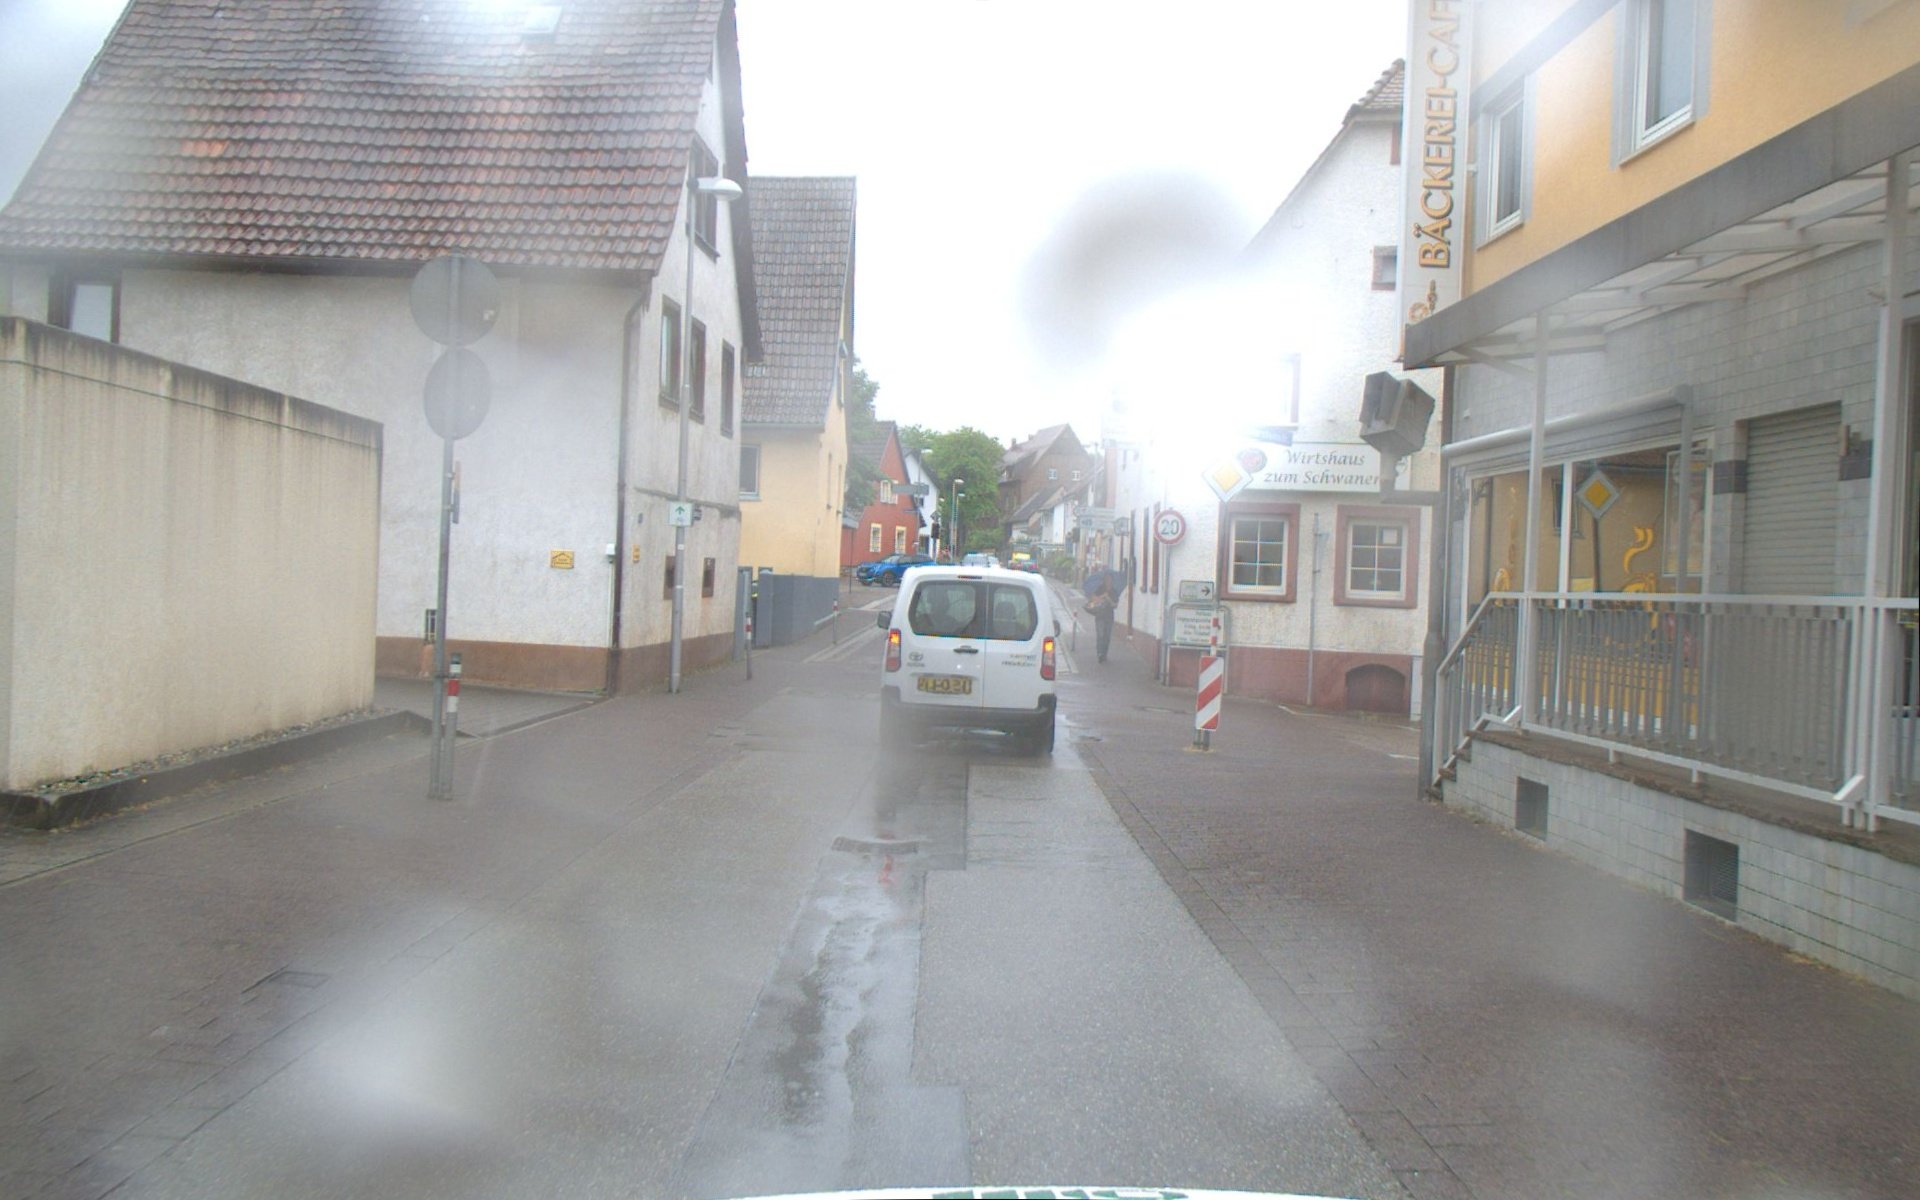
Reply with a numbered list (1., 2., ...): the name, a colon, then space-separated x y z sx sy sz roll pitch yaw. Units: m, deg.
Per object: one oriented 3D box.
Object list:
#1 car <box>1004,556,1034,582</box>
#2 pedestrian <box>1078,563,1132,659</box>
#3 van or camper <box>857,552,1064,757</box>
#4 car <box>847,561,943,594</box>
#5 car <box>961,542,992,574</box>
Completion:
1. car: 4.187 -2.203 118.657 1.953 1.777 4.000 2 1 0
2. pedestrian: 2.793 0.199 31.817 0.973 1.766 0.812 2 3 5
3. van or camper: 0.065 0.518 17.827 1.903 1.883 4.001 2 0 2
4. car: -3.009 -1.045 76.542 3.954 1.397 2.085 1 0 -36
5. car: 0.977 -2.527 99.157 1.775 1.810 4.019 2 2 1
